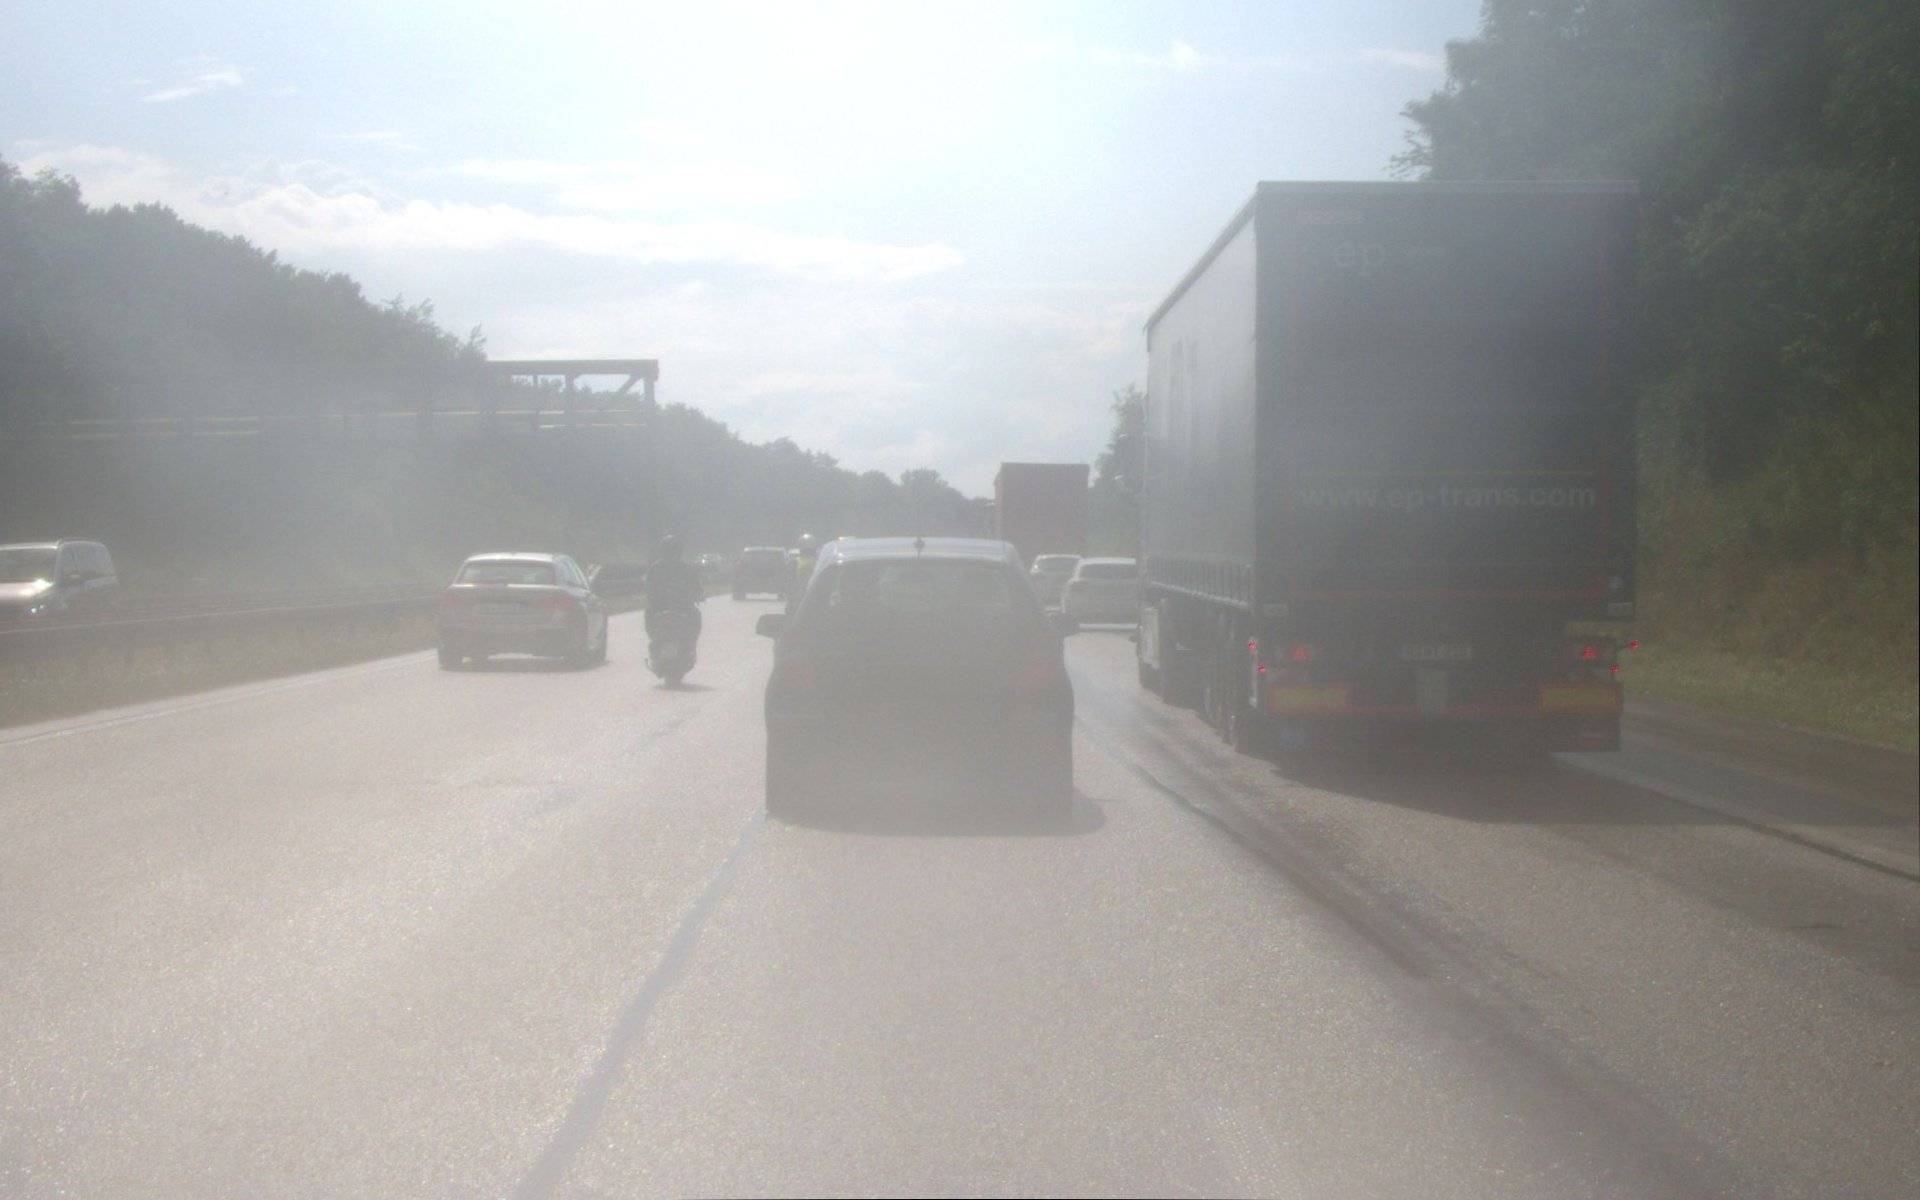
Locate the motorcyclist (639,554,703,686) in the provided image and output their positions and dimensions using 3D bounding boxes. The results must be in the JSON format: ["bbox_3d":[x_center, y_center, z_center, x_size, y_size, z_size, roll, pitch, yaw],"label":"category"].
[{"bbox_3d":[-3.192,0.215,38.010,0.670,1.437,1.020,1,0,-4],"label":"motorcyclist"}]

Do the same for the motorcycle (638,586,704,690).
[{"bbox_3d":[-3.191,0.409,38.032,0.676,1.083,1.982,1,1,-4],"label":"motorcycle"}]

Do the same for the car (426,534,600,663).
[{"bbox_3d":[-5.759,-0.047,44.726,1.758,1.589,4.331,0,1,-1],"label":"car"}]

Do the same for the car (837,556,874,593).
[{"bbox_3d":[-5.727,-1.416,188.740,1.993,2.007,4.000,1,0,-1],"label":"car"}]

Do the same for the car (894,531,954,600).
[{"bbox_3d":[-1.046,-1.006,98.416,1.675,1.929,3.773,0,1,-1],"label":"car"}]

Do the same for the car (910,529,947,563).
[{"bbox_3d":[-1.427,-2.401,154.107,1.631,1.485,3.437,0,1,-1],"label":"car"}]

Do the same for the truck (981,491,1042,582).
[{"bbox_3d":[2.686,-3.333,183.216,2.882,4.671,12.659,1,0,-1],"label":"truck"}]

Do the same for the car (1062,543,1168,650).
[{"bbox_3d":[3.010,-0.081,67.441,1.849,2.007,4.087,1,0,0],"label":"car"}]

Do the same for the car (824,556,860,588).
[{"bbox_3d":[-5.570,-1.323,162.628,1.675,1.485,3.437,0,1,-1],"label":"car"}]

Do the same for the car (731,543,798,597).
[{"bbox_3d":[-6.020,-0.935,106.285,1.893,1.622,4.195,0,1,-1],"label":"car"}]

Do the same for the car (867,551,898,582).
[{"bbox_3d":[-5.084,-2.181,226.980,1.993,2.007,4.000,1,0,-1],"label":"car"}]

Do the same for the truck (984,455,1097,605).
[{"bbox_3d":[2.408,-2.112,105.875,3.202,4.389,9.432,0,1,0],"label":"truck"}]

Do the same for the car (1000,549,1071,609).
[{"bbox_3d":[1.912,-0.558,87.630,1.675,1.485,3.437,0,1,-1],"label":"car"}]

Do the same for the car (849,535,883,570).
[{"bbox_3d":[-5.590,-2.815,205.046,1.993,2.007,4.000,1,0,-1],"label":"car"}]

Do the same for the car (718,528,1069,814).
[{"bbox_3d":[-0.404,0.363,21.017,1.915,1.560,4.314,0,1,-1],"label":"car"}]

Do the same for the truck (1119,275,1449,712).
[{"bbox_3d":[3.351,-1.090,37.090,3.052,4.310,5.886,1,1,1],"label":"truck"}]

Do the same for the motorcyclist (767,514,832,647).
[{"bbox_3d":[-2.149,-0.266,46.199,0.821,1.755,1.390,1,0,-1],"label":"motorcyclist"}]

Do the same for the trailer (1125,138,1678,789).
[{"bbox_3d":[3.259,-0.999,29.838,3.088,4.298,14.105,0,1,1],"label":"trailer"}]

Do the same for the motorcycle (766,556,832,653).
[{"bbox_3d":[-2.152,0.040,46.223,0.819,1.258,2.118,1,1,-1],"label":"motorcycle"}]

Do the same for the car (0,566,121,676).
[{"bbox_3d":[-15.115,0.311,55.613,1.908,1.673,4.969,-1,1,-1],"label":"car"}]

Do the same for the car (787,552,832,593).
[{"bbox_3d":[-5.965,-1.087,136.202,1.675,1.591,3.437,0,1,-1],"label":"car"}]
